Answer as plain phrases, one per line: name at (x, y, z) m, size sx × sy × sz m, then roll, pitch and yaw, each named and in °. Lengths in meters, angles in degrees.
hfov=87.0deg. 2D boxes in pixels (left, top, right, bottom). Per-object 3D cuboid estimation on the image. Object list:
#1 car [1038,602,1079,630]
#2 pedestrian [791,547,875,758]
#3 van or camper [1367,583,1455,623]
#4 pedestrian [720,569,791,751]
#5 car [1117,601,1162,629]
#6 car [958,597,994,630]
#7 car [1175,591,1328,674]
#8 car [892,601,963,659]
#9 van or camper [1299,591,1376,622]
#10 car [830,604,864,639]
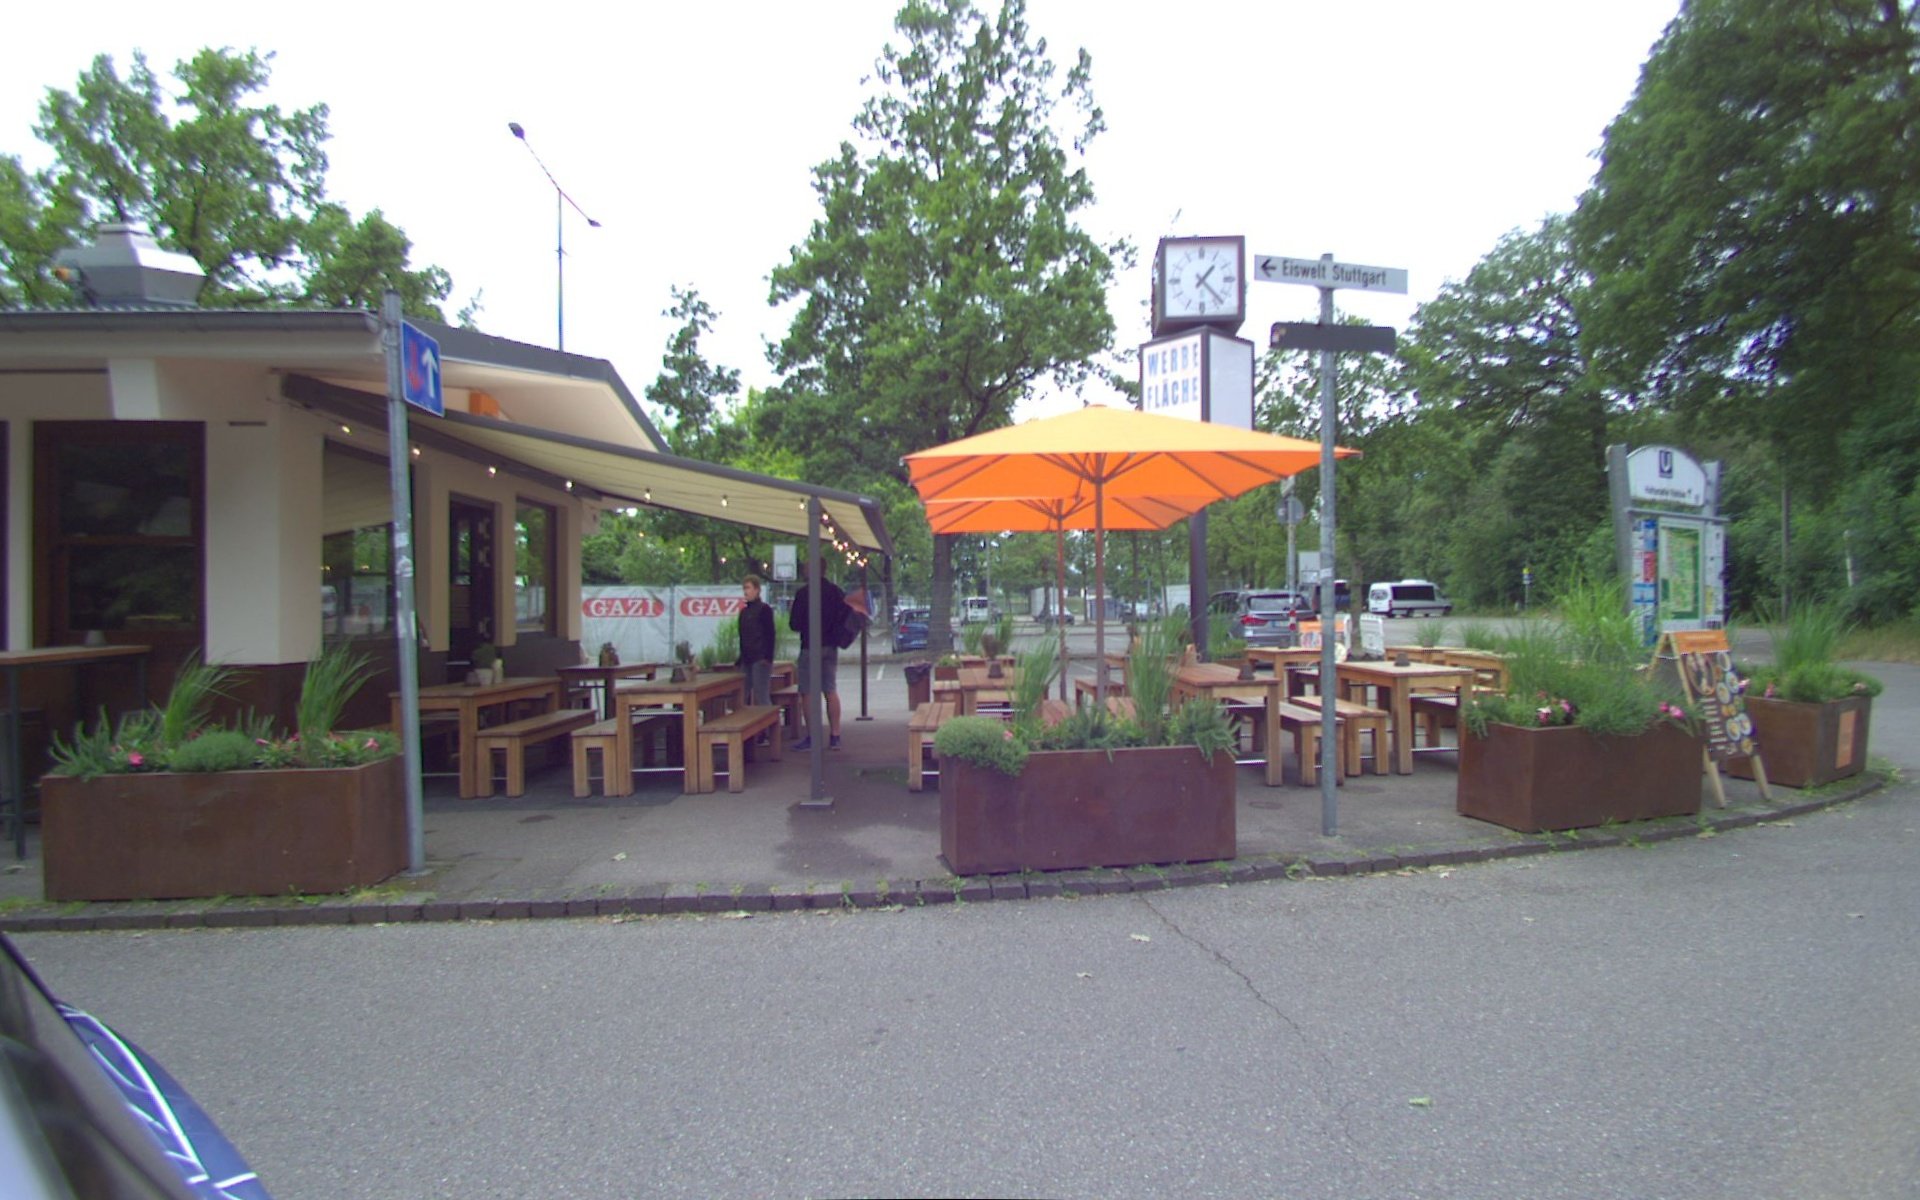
car at (6.612, 1.083, 68.261) m, size 1.848 × 1.793 × 4.301 m, roll -1°, pitch -1°, yaw -6°
pedestrian at (-1.184, 0.465, 9.316) m, size 0.699 × 1.845 × 0.751 m, roll -1°, pitch -1°, yaw -10°
van or camper at (34.405, 0.220, 77.113) m, size 7.214 × 2.871 × 2.075 m, roll -1°, pitch -1°, yaw -29°
pedestrian at (-1.962, 0.564, 9.755) m, size 0.524 × 1.680 × 0.595 m, roll -1°, pitch -1°, yaw 1°
car at (12.126, 0.997, 68.551) m, size 1.848 × 1.793 × 4.301 m, roll -1°, pitch -1°, yaw -6°
car at (1.044, 0.911, 68.005) m, size 1.848 × 2.055 × 4.596 m, roll -1°, pitch -1°, yaw -6°
car at (6.562, 0.710, 23.329) m, size 1.906 × 1.682 × 4.350 m, roll -1°, pitch -1°, yaw -5°
car at (-1.020, 0.856, 30.244) m, size 1.970 × 1.564 × 4.003 m, roll -1°, pitch -1°, yaw -3°
van or camper at (37.495, 0.628, 100.509) m, size 7.216 × 2.871 × 2.210 m, roll -1°, pitch -1°, yaw -15°
car at (-6.868, 1.287, 61.639) m, size 1.969 × 2.029 × 4.005 m, roll -1°, pitch -1°, yaw -6°
